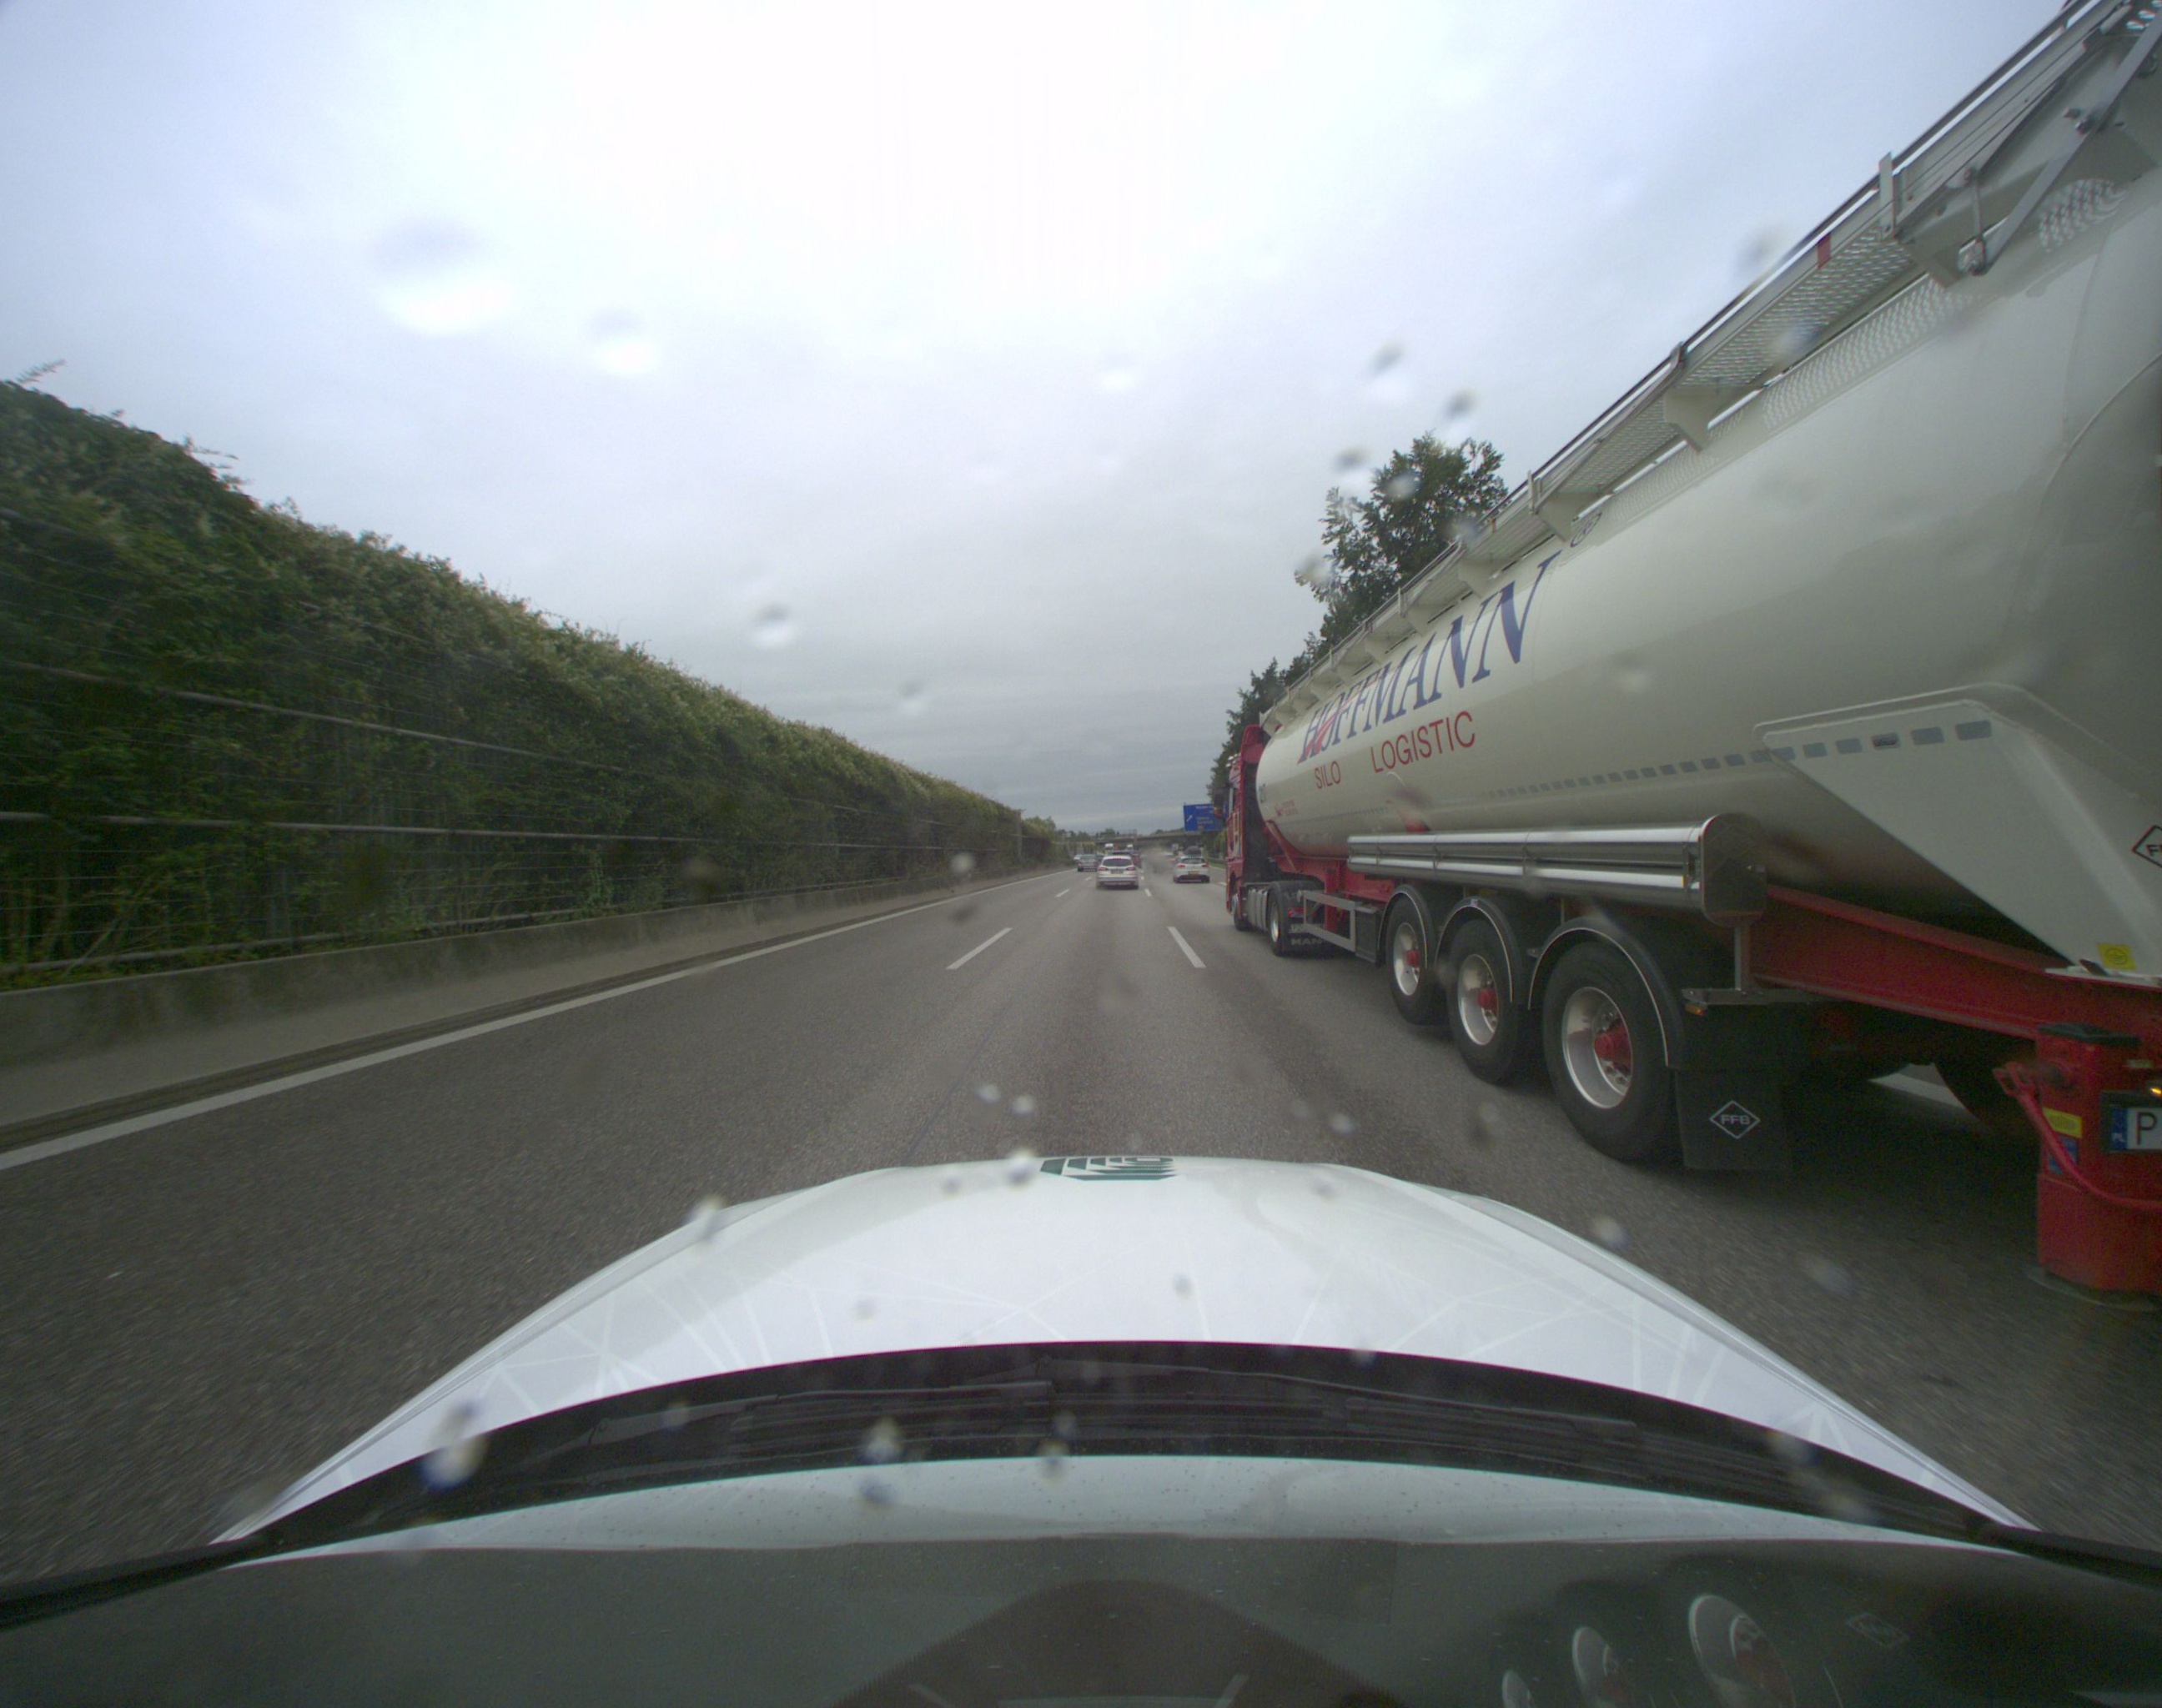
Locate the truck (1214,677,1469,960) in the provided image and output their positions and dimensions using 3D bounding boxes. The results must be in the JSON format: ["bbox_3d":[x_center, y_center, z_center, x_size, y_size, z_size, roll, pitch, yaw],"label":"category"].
[{"bbox_3d":[4.191,-0.501,14.727,2.684,3.912,6.560,-2,0,2],"label":"truck"}]

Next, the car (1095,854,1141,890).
[{"bbox_3d":[1.591,0.760,36.559,1.885,1.504,5.030,1,0,0],"label":"car"}]

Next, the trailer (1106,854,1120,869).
[{"bbox_3d":[9.951,2.291,253.820,2.653,4.127,13.162,-2,0,9],"label":"trailer"}]

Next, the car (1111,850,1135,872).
[{"bbox_3d":[3.177,0.531,62.196,1.682,1.506,3.873,2,1,2],"label":"car"}]

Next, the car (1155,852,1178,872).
[{"bbox_3d":[6.635,0.625,63.015,1.680,1.506,3.877,-2,-1,6],"label":"car"}]

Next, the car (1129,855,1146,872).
[{"bbox_3d":[5.815,0.949,83.996,1.681,1.506,3.876,2,1,4],"label":"car"}]

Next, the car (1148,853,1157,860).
[{"bbox_3d":[15.271,0.506,174.804,1.682,1.539,3.873,-2,0,2],"label":"car"}]

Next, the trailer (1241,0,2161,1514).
[{"bbox_3d":[3.931,-0.556,7.757,2.658,3.938,13.137,-2,0,2],"label":"trailer"}]

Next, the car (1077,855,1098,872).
[{"bbox_3d":[0.632,0.856,72.021,1.714,1.469,5.031,-2,-1,1],"label":"car"}]

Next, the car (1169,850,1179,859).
[{"bbox_3d":[17.471,0.112,152.986,1.678,1.539,3.882,-2,0,10],"label":"car"}]

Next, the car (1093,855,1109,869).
[{"bbox_3d":[2.369,0.889,94.569,1.713,1.512,5.034,-2,0,3],"label":"car"}]

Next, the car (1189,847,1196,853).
[{"bbox_3d":[30.569,-1.142,222.896,1.679,1.422,3.880,-2,0,8],"label":"car"}]

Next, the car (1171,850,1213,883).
[{"bbox_3d":[5.764,0.644,42.783,1.808,1.625,5.034,1,0,3],"label":"car"}]

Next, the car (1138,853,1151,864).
[{"bbox_3d":[11.074,0.752,141.579,1.779,1.779,3.882,-3,-1,10],"label":"car"}]
